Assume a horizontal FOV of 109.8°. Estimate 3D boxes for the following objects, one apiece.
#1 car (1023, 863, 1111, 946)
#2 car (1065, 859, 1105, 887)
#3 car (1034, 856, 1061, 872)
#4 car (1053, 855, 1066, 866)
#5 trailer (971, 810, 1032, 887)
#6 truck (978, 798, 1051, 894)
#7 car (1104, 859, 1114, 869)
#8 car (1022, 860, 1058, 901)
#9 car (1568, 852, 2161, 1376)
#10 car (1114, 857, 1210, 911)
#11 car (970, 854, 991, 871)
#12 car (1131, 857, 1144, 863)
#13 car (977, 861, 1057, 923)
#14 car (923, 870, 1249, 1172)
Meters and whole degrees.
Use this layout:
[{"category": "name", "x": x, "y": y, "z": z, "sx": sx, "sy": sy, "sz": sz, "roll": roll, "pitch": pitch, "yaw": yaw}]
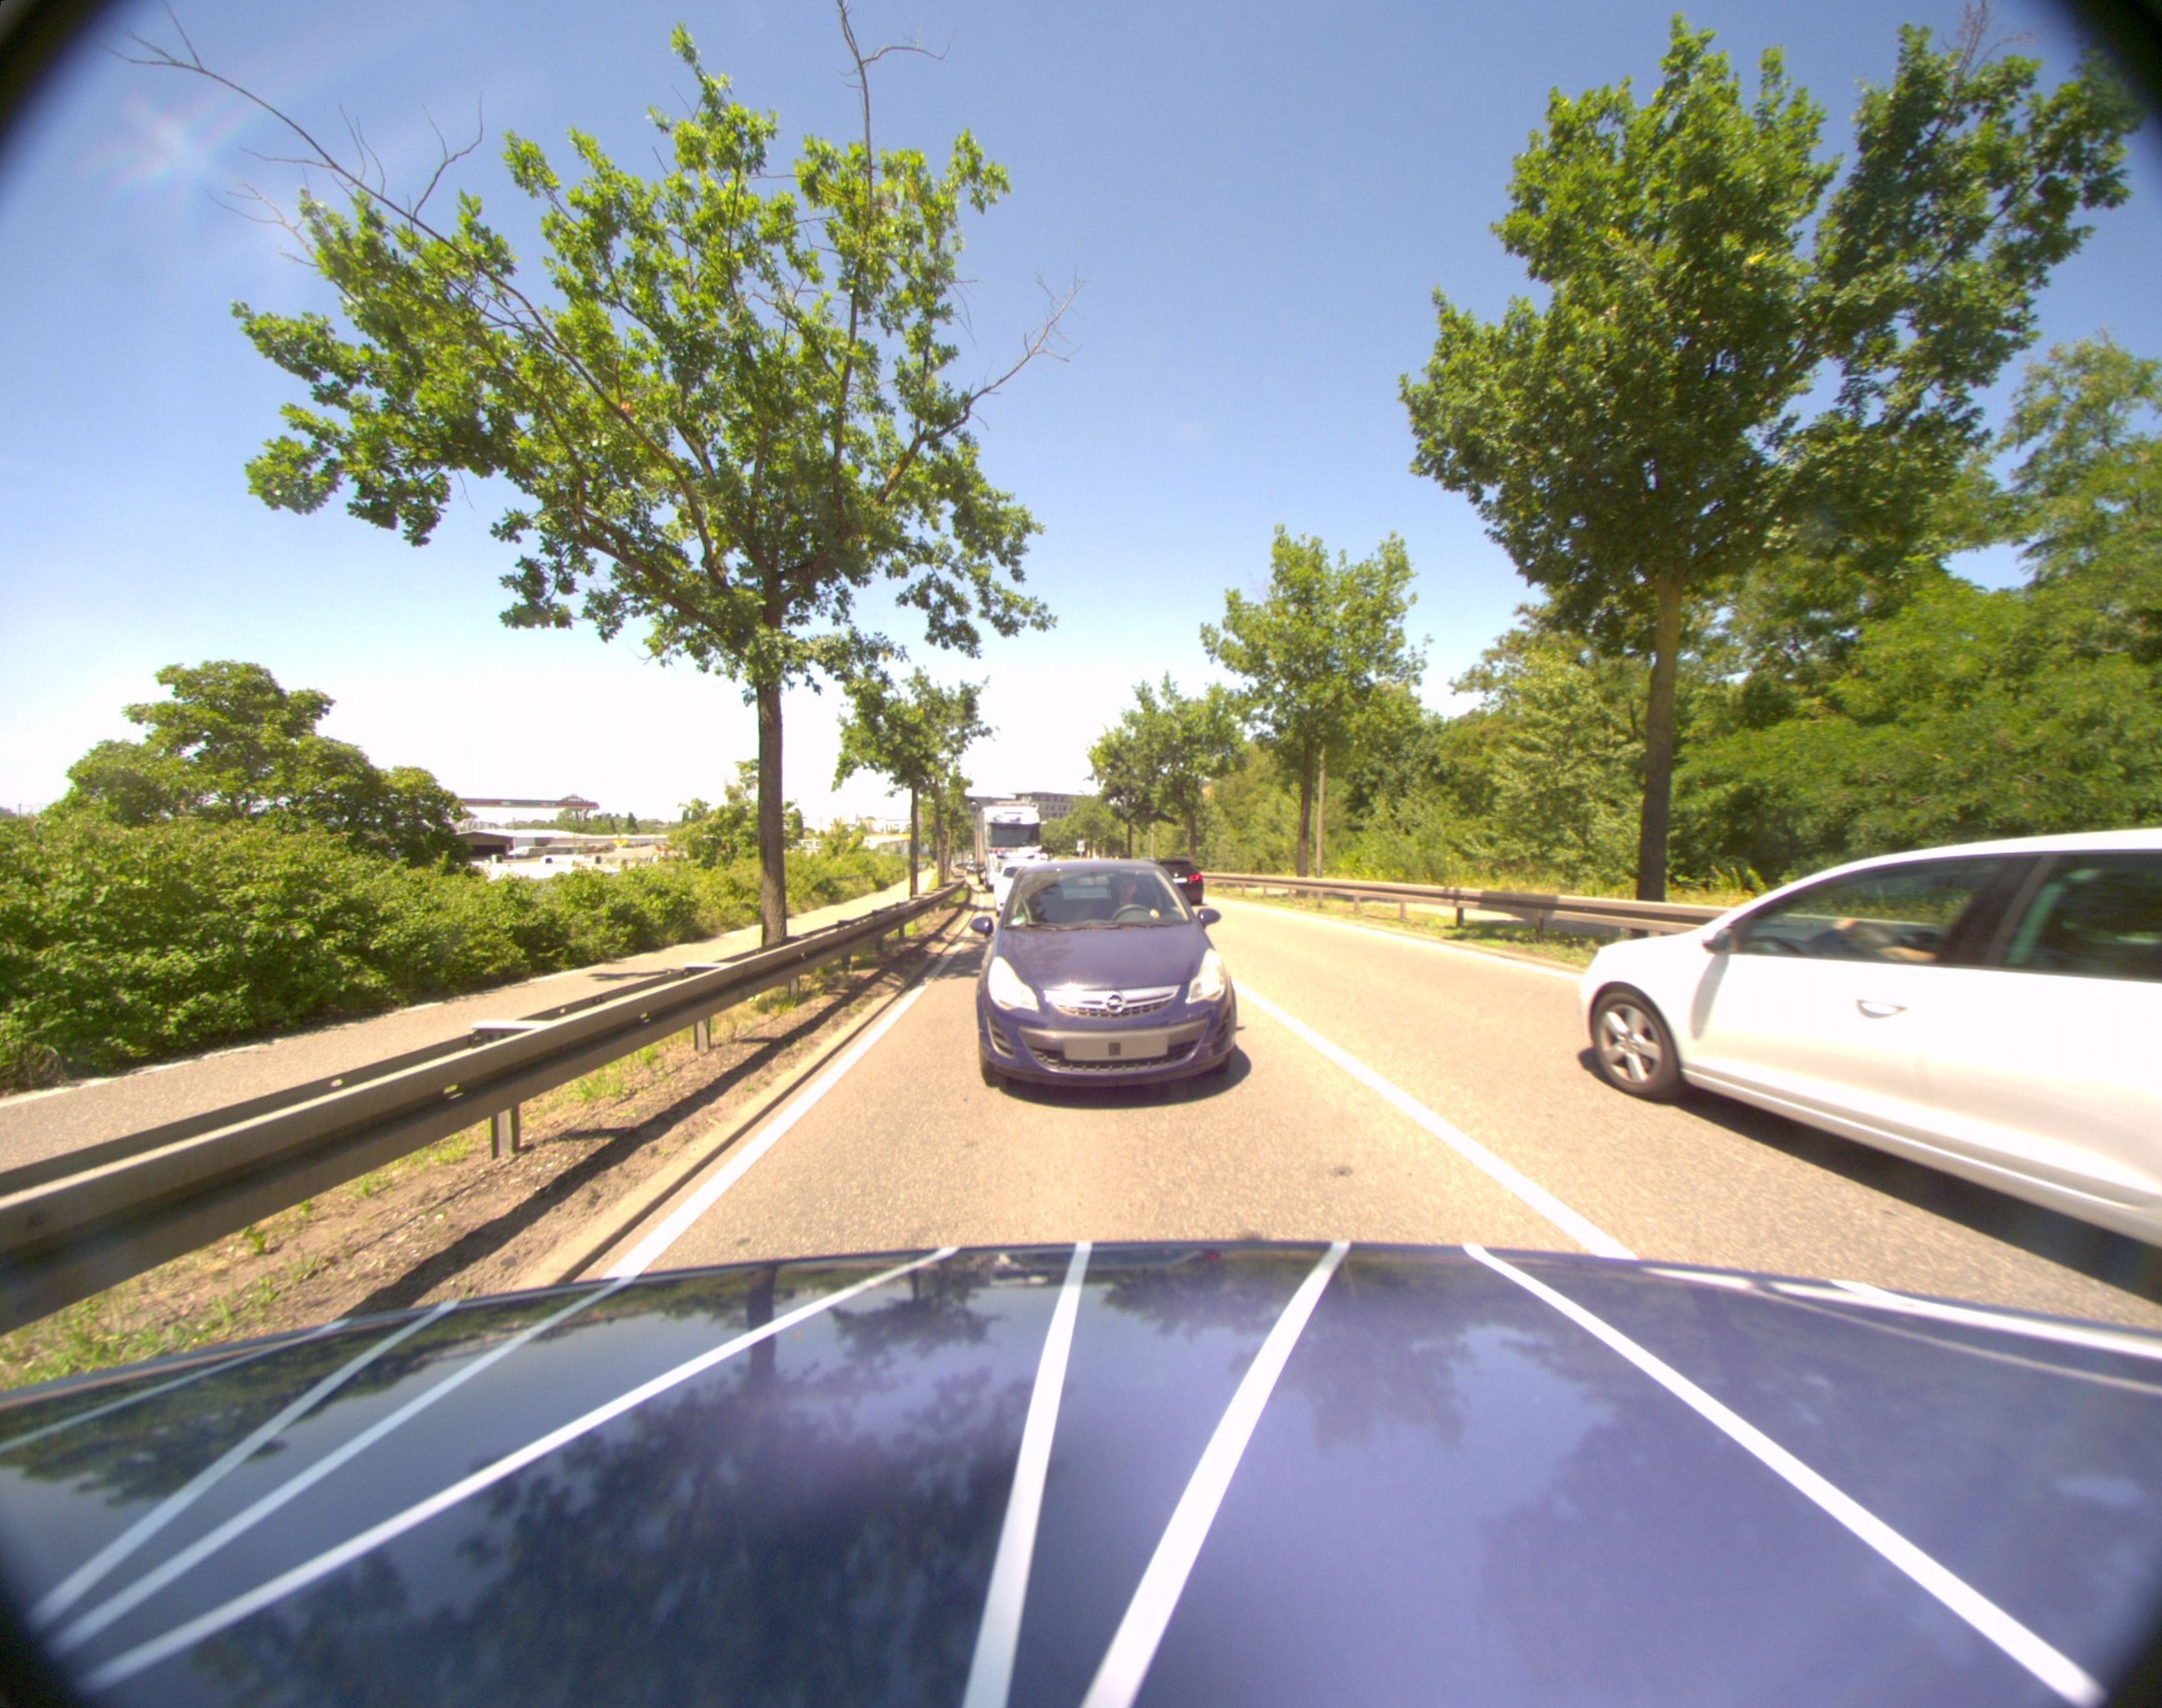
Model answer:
[{"category": "car", "x": -0.322, "y": 0.956, "z": 16.008, "sx": 1.569, "sy": 1.408, "sz": 4.121, "roll": -2, "pitch": 0, "yaw": -2}, {"category": "car", "x": 0.190, "y": 1.031, "z": 42.825, "sx": 1.750, "sy": 1.483, "sz": 3.731, "roll": -1, "pitch": 0, "yaw": -7}, {"category": "car", "x": -3.129, "y": 0.922, "z": 70.132, "sx": 1.613, "sy": 1.374, "sz": 3.841, "roll": -2, "pitch": 0, "yaw": -15}, {"category": "car", "x": -2.834, "y": 0.818, "z": 99.234, "sx": 1.536, "sy": 1.406, "sz": 3.553, "roll": -1, "pitch": 0, "yaw": 0}, {"category": "trailer", "x": -5.373, "y": -0.317, "z": 48.925, "sx": 2.883, "sy": 4.189, "sz": 13.995, "roll": -2, "pitch": 0, "yaw": -10}, {"category": "truck", "x": -3.567, "y": -0.364, "z": 38.504, "sx": 2.860, "sy": 4.244, "sz": 8.807, "roll": -2, "pitch": 0, "yaw": -10}, {"category": "car", "x": 6.122, "y": 2.110, "z": 165.971, "sx": 1.784, "sy": 2.002, "sz": 4.002, "roll": -1, "pitch": 0, "yaw": 6}, {"category": "car", "x": -1.531, "y": 0.946, "z": 28.262, "sx": 1.250, "sy": 1.376, "sz": 3.103, "roll": -2, "pitch": 0, "yaw": -3}, {"category": "car", "x": 3.929, "y": 0.746, "z": 2.711, "sx": 1.729, "sy": 1.430, "sz": 4.023, "roll": -2, "pitch": 0, "yaw": -1}, {"category": "car", "x": 2.311, "y": 0.825, "z": 22.961, "sx": 1.882, "sy": 1.372, "sz": 4.667, "roll": -2, "pitch": 0, "yaw": -6}, {"category": "car", "x": -10.128, "y": 0.842, "z": 76.627, "sx": 1.976, "sy": 1.567, "sz": 3.998, "roll": -2, "pitch": 0, "yaw": -6}, {"category": "car", "x": 12.946, "y": 1.352, "z": 174.002, "sx": 1.737, "sy": 1.406, "sz": 3.499, "roll": -1, "pitch": 0, "yaw": 25}, {"category": "car", "x": -1.629, "y": 0.960, "z": 20.544, "sx": 1.816, "sy": 1.420, "sz": 3.715, "roll": -2, "pitch": 0, "yaw": 0}, {"category": "car", "x": 0.012, "y": 0.936, "z": 6.247, "sx": 1.698, "sy": 1.459, "sz": 4.382, "roll": -2, "pitch": 0, "yaw": -1}]
